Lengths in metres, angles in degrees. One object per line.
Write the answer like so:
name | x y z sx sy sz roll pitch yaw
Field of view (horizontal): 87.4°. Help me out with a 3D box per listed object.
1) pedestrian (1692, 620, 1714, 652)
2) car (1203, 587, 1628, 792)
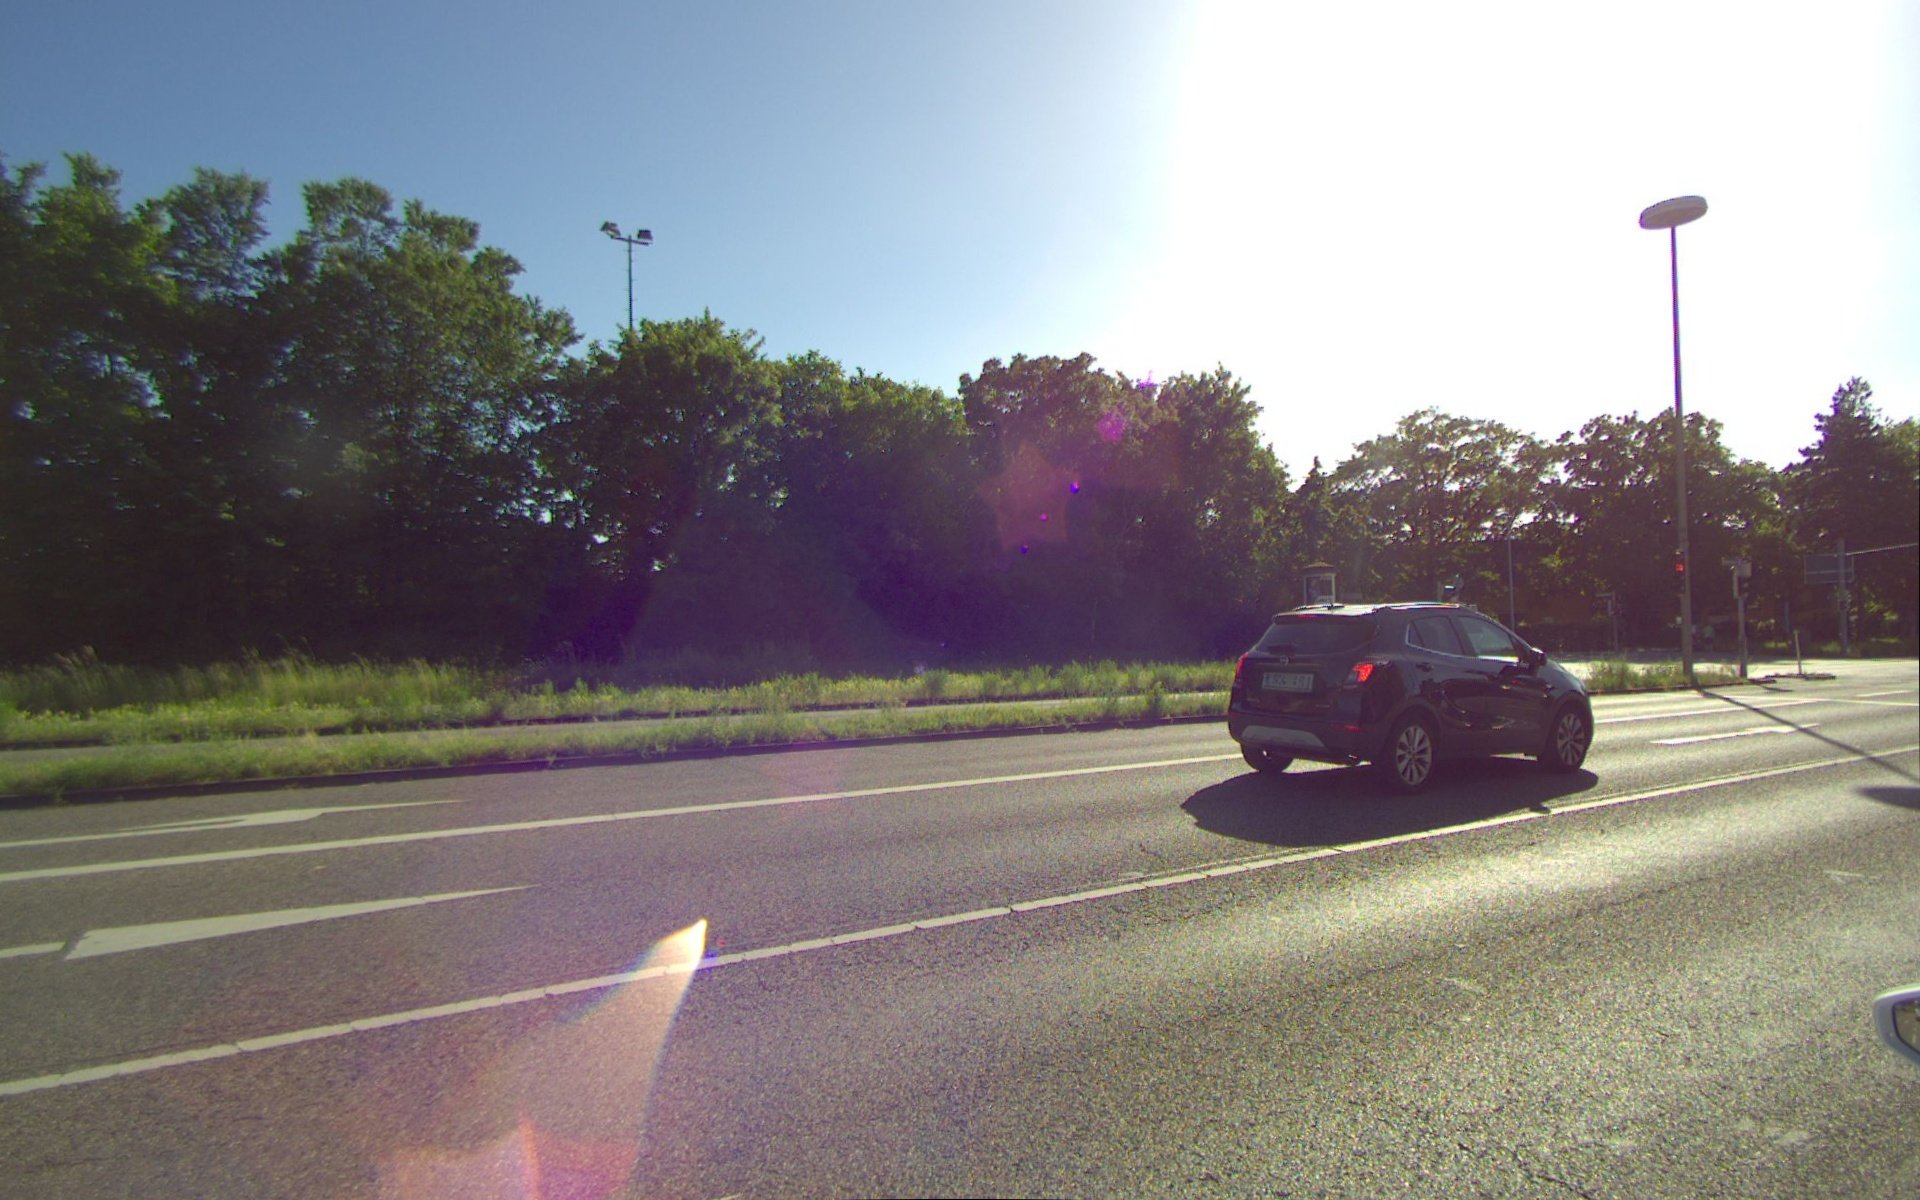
pedestrian | 42.901 2.090 58.008 0.542 1.859 0.843 0 -2 -26
car | 4.619 0.784 10.002 4.367 1.653 1.687 1 -2 -31
